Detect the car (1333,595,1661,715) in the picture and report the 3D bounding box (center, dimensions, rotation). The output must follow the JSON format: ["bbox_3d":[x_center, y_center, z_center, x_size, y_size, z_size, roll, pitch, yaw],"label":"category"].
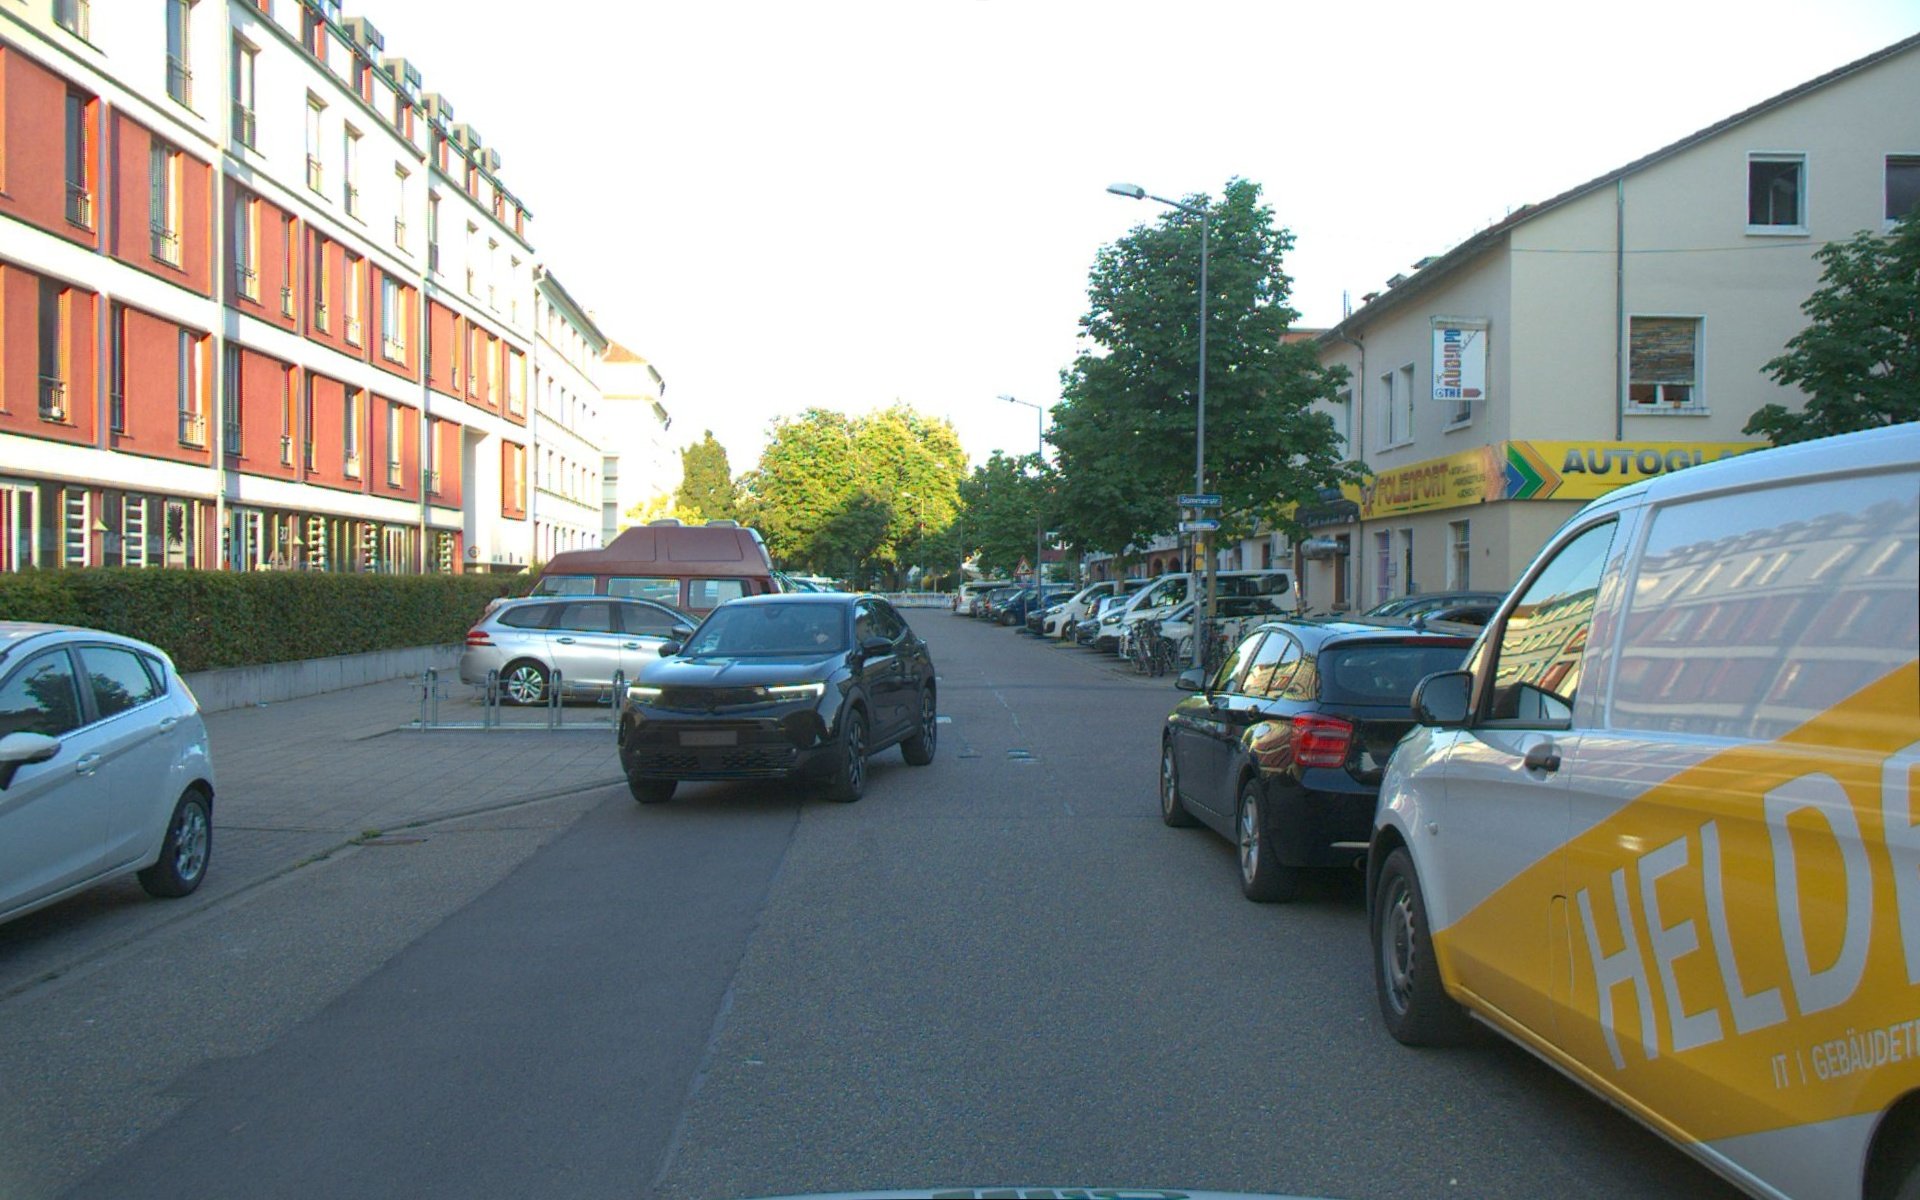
[{"bbox_3d":[7.136,0.707,22.179,3.852,1.480,1.656,-1,1,-5],"label":"car"}]

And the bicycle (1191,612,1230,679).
[{"bbox_3d":[4.829,0.854,31.942,0.378,1.221,2.017,-1,0,-1],"label":"bicycle"}]

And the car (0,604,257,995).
[{"bbox_3d":[-4.797,0.825,7.629,1.618,1.557,4.014,1,0,-4],"label":"car"}]

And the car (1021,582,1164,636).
[{"bbox_3d":[4.686,0.300,58.970,4.846,1.718,2.076,-2,0,-3],"label":"car"}]

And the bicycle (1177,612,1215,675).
[{"bbox_3d":[4.548,0.815,31.949,0.378,1.133,2.017,-1,0,-1],"label":"bicycle"}]

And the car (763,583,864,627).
[{"bbox_3d":[-6.263,0.211,71.140,4.170,1.744,2.000,1,0,-2],"label":"car"}]

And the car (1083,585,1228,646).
[{"bbox_3d":[5.492,0.425,46.860,3.832,1.552,1.939,-2,0,-1],"label":"car"}]

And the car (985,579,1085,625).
[{"bbox_3d":[3.459,0.090,76.533,4.393,1.945,1.685,-2,0,-6],"label":"car"}]

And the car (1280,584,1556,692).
[{"bbox_3d":[7.346,0.583,26.783,3.968,1.540,1.756,-1,2,-1],"label":"car"}]

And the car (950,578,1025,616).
[{"bbox_3d":[1.520,-0.165,91.973,3.892,1.945,2.047,-2,0,-6],"label":"car"}]

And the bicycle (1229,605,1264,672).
[{"bbox_3d":[5.499,0.726,31.810,0.378,1.221,1.481,-1,0,-1],"label":"bicycle"}]

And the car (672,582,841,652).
[{"bbox_3d":[-5.256,0.432,43.156,4.170,1.689,2.000,1,0,-2],"label":"car"}]

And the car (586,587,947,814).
[{"bbox_3d":[-1.371,0.685,13.391,1.741,1.544,4.004,-1,0,11],"label":"car"}]

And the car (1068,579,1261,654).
[{"bbox_3d":[5.403,0.422,44.224,4.843,1.772,2.049,-2,0,-1],"label":"car"}]

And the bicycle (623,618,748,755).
[{"bbox_3d":[-2.812,0.843,17.269,0.791,1.243,2.865,1,0,0],"label":"bicycle"}]

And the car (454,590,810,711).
[{"bbox_3d":[-4.351,0.663,22.530,4.525,1.486,1.879,1,0,-5],"label":"car"}]

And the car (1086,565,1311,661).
[{"bbox_3d":[5.537,0.278,38.883,4.888,2.018,2.219,-2,0,-1],"label":"car"}]

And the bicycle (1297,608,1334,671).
[{"bbox_3d":[6.840,0.753,31.880,0.346,1.163,1.481,-1,0,-1],"label":"bicycle"}]

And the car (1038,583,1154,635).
[{"bbox_3d":[5.216,0.348,63.890,4.231,1.835,1.810,-2,0,-3],"label":"car"}]

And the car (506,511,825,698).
[{"bbox_3d":[-4.373,0.060,25.106,4.419,2.629,2.000,1,0,0],"label":"car"}]

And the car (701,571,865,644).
[{"bbox_3d":[-5.310,0.216,50.066,4.752,2.056,1.906,1,0,-2],"label":"car"}]

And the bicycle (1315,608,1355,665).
[{"bbox_3d":[7.234,0.693,31.935,0.380,1.035,1.481,-1,0,-1],"label":"bicycle"}]

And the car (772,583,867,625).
[{"bbox_3d":[-6.430,0.184,75.908,4.170,1.780,2.000,1,0,-2],"label":"car"}]

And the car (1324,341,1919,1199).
[{"bbox_3d":[2.471,0.530,4.128,1.855,1.917,5.080,1,0,-2],"label":"car"}]

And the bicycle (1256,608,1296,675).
[{"bbox_3d":[6.067,0.784,31.791,0.436,1.221,1.481,-1,0,-1],"label":"bicycle"}]

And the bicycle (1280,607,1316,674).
[{"bbox_3d":[6.488,0.767,31.791,0.346,1.221,1.481,-1,0,-1],"label":"bicycle"}]

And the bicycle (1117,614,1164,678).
[{"bbox_3d":[3.448,0.862,31.705,0.429,1.150,2.014,-1,0,-7],"label":"bicycle"}]

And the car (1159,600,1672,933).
[{"bbox_3d":[2.322,0.755,9.602,1.686,1.449,4.252,1,0,-2],"label":"car"}]

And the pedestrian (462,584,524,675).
[{"bbox_3d":[-8.083,0.499,28.664,0.815,1.527,0.798,1,0,-1],"label":"pedestrian"}]

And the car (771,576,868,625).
[{"bbox_3d":[-6.636,0.025,78.540,4.442,2.171,1.999,1,0,-2],"label":"car"}]

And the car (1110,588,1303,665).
[{"bbox_3d":[5.336,0.553,36.092,3.841,1.476,1.767,-2,0,-4],"label":"car"}]

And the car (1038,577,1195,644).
[{"bbox_3d":[5.089,0.328,54.157,4.846,1.992,2.048,-2,0,-3],"label":"car"}]

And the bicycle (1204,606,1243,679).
[{"bbox_3d":[5.085,0.797,31.957,0.378,1.327,2.017,-1,0,-1],"label":"bicycle"}]

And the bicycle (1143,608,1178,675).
[{"bbox_3d":[3.852,0.781,31.900,0.378,1.221,2.017,-1,0,-1],"label":"bicycle"}]
